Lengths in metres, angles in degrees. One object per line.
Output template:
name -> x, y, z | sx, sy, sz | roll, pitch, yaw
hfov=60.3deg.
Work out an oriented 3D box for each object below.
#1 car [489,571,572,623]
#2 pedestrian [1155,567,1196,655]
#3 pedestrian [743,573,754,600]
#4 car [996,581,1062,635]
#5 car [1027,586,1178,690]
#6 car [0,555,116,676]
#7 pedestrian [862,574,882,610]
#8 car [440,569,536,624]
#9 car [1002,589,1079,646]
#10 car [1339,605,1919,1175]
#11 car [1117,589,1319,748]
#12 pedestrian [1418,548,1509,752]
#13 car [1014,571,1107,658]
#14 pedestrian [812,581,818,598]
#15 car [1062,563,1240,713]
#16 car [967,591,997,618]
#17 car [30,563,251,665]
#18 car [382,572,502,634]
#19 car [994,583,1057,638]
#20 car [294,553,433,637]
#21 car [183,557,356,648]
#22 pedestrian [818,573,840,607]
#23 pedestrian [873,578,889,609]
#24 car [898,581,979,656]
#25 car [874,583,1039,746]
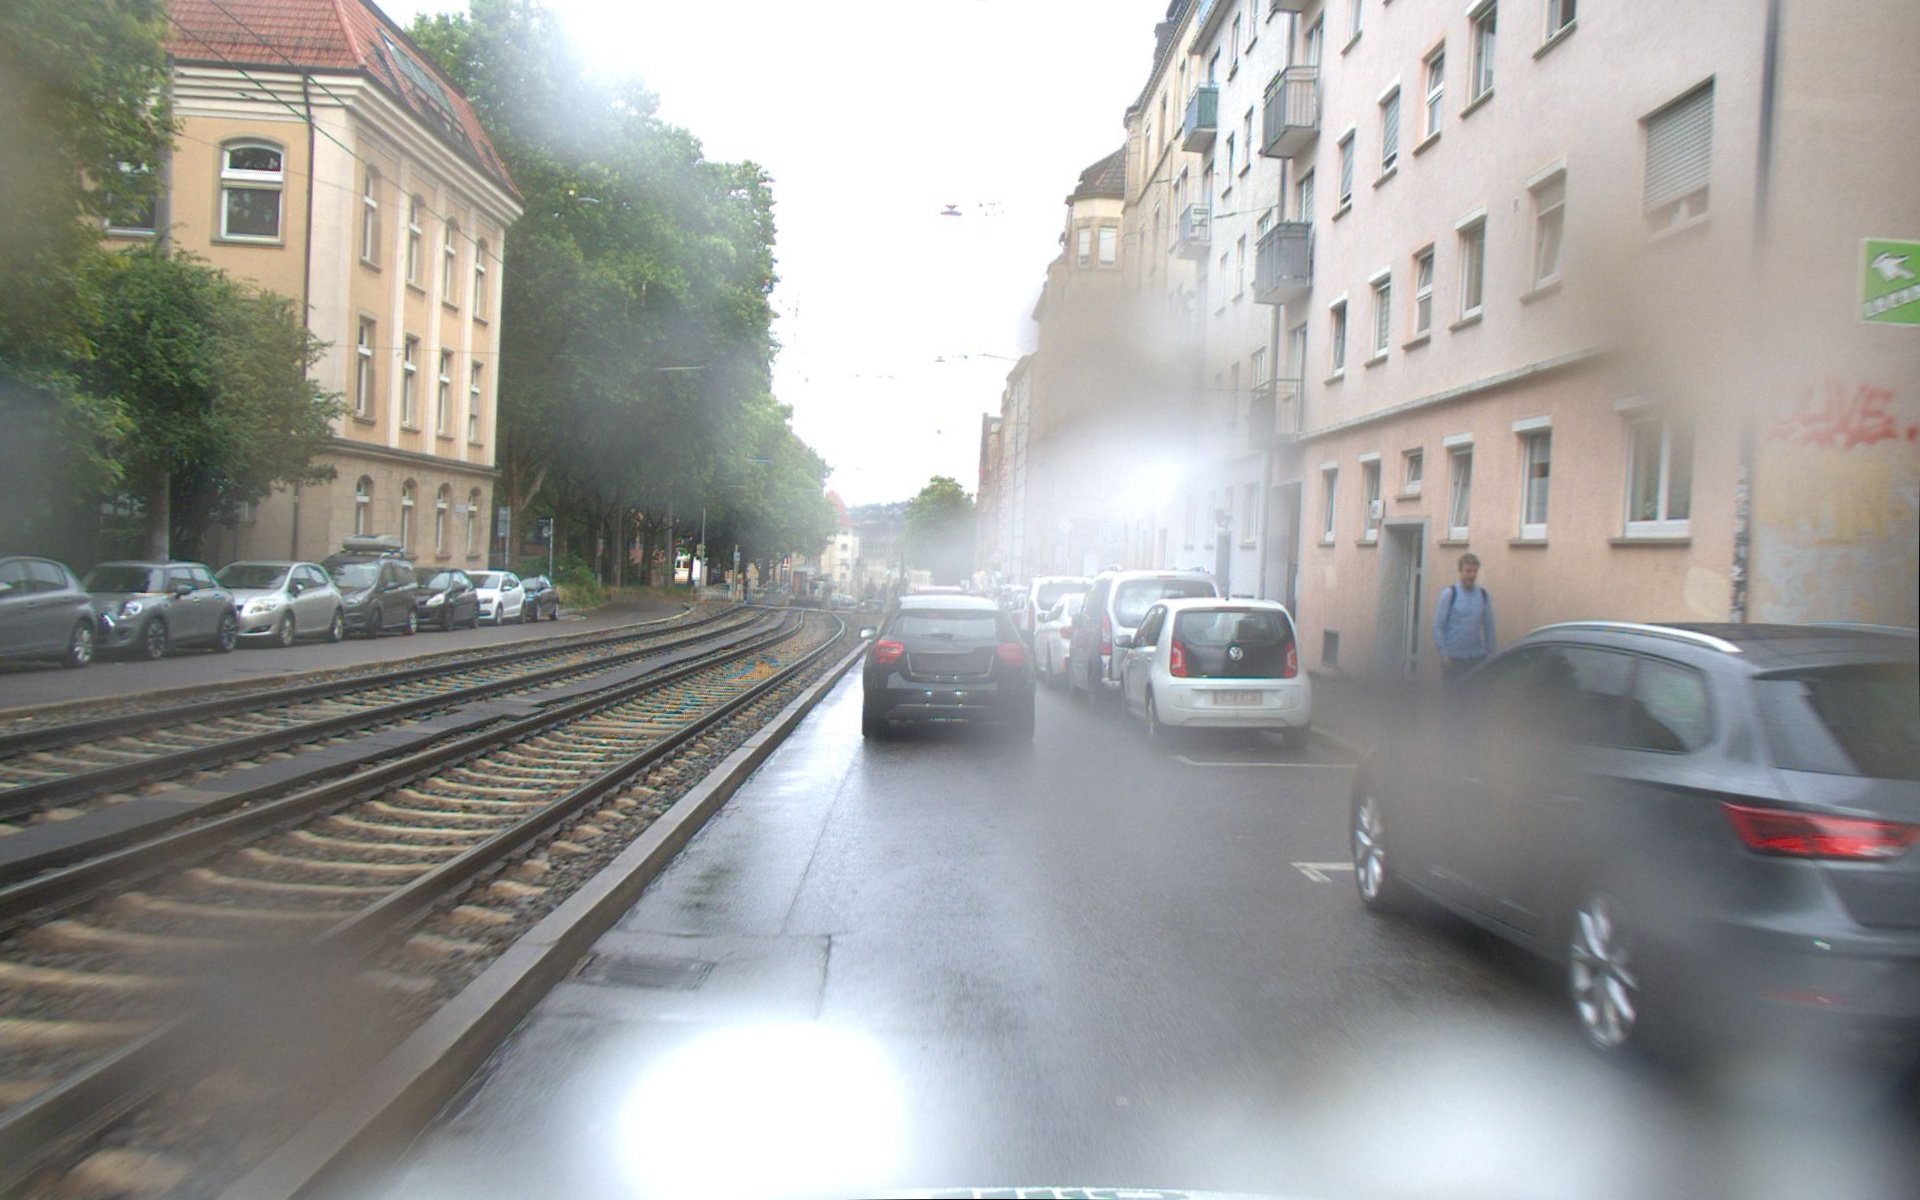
car -> -12.896, -0.120, 49.840 | 1.582, 1.454, 3.851 | 1, 1, -1
pedestrian -> 4.691, 0.234, 36.032 | 0.730, 1.865, 1.039 | -1, 0, 0
pedestrian -> -14.211, -0.910, 111.082 | 0.523, 1.784, 0.607 | 3, 0, -1
car -> 2.278, 0.237, 55.404 | 1.731, 1.697, 4.330 | 2, 0, -3
car -> 2.214, 0.541, 26.923 | 1.834, 1.481, 4.901 | 1, 1, -2
car -> -12.310, 0.189, 20.454 | 1.719, 1.438, 4.152 | 0, 0, -2
pedestrian -> -4.972, -0.470, 93.500 | 1.115, 2.033, 1.171 | 0, 1, -5
car -> -12.821, -0.114, 45.107 | 1.469, 1.415, 3.987 | 0, 0, 0
car -> 2.127, 0.436, 44.767 | 1.683, 1.370, 4.460 | 2, 0, -2
car -> 2.905, 0.779, 6.527 | 1.636, 1.434, 4.310 | 1, 1, -3
car -> 2.639, 0.644, 17.611 | 1.538, 1.487, 3.599 | 1, 0, -1
pedestrian -> 4.526, 0.437, 14.904 | 0.595, 1.794, 0.688 | 0, 0, -2
car -> 2.173, 0.276, 36.654 | 1.791, 1.781, 4.467 | 1, 1, 0
pedestrian -> -14.676, -1.077, 167.772 | 0.508, 1.747, 0.551 | 3, 0, -1
car -> 2.430, 0.439, 21.991 | 1.754, 1.796, 4.211 | 0, 1, -2
car -> 1.385, 0.268, 104.058 | 1.790, 1.646, 3.863 | 0, 1, -1
car -> -12.407, 0.180, 25.319 | 1.508, 1.438, 3.951 | 0, 0, -2
car -> -12.594, 0.045, 40.440 | 1.640, 1.438, 4.010 | 0, 0, 0
car -> 1.952, 0.290, 49.912 | 1.659, 1.556, 3.999 | 2, 0, -1
car -> -12.502, -0.120, 34.898 | 1.545, 1.672, 4.070 | 0, 0, -2
car -> -12.452, 0.017, 30.087 | 1.508, 1.531, 4.153 | 0, 0, -2
pedestrian -> -6.927, -0.509, 87.562 | 1.033, 1.748, 0.904 | 2, 0, 0
pedestrian -> -4.221, -0.349, 88.515 | 0.789, 1.662, 0.892 | 0, 1, -1
car -> -0.506, 0.383, 38.229 | 1.749, 1.608, 3.999 | 1, 0, -1
car -> -0.077, 0.605, 17.637 | 1.548, 1.531, 3.573 | 1, 0, -2
